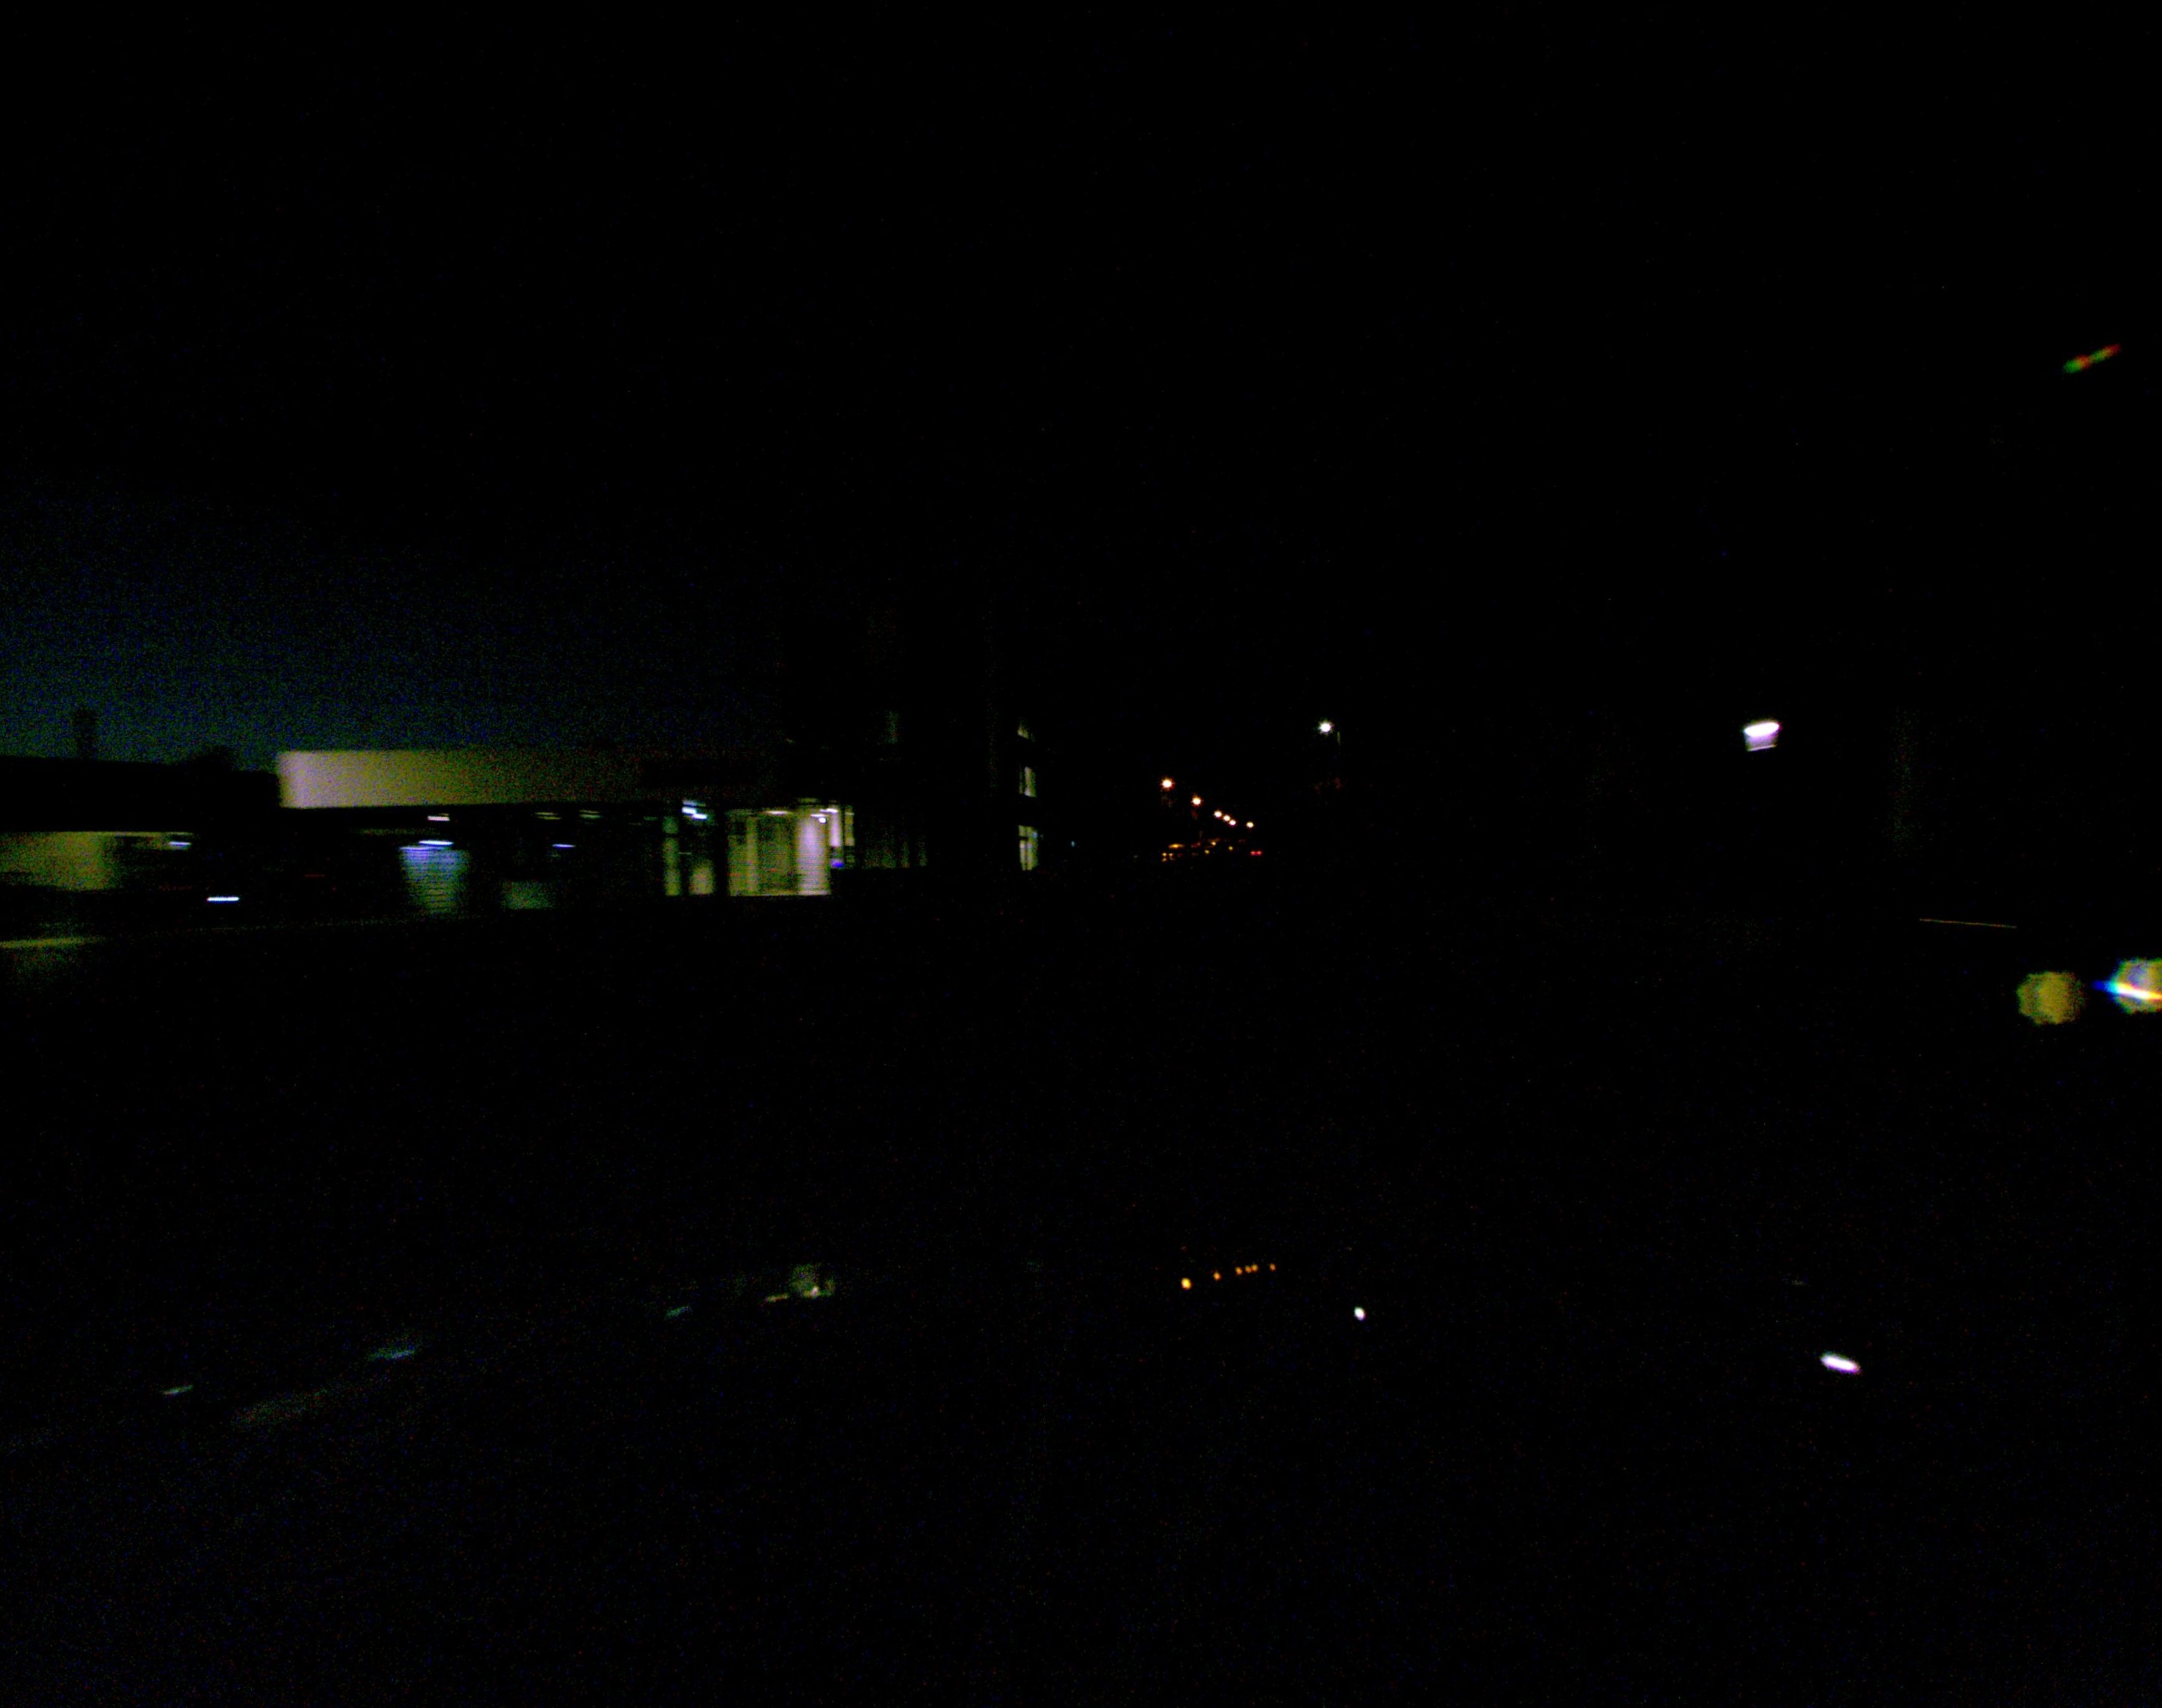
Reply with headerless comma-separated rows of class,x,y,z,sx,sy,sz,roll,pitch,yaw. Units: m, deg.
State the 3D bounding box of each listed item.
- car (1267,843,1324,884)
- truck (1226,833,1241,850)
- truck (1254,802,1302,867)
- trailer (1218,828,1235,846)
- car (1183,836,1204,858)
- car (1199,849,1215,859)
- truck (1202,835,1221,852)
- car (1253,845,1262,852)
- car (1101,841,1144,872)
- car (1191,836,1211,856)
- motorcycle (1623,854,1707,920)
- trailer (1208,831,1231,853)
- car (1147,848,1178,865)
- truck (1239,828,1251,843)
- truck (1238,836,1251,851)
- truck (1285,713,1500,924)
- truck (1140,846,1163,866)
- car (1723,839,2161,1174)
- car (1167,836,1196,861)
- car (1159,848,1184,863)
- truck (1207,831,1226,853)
car,9.580,0.373,34.270,1.947,1.707,5.202,-1,0,10
truck,37.762,-3.130,188.057,2.795,3.946,9.831,-3,-1,14
truck,13.428,-1.259,52.307,2.750,4.010,9.568,-2,0,13
trailer,31.116,-3.586,161.749,2.882,3.504,8.292,-2,0,15
car,14.434,-0.888,97.433,2.132,2.556,5.914,-4,0,12
car,19.675,-0.060,118.423,1.832,1.399,4.913,-4,-1,14
truck,21.635,-1.723,125.629,2.405,2.579,6.604,-2,0,16
car,36.221,-1.165,155.909,1.860,1.412,4.004,-2,1,14
car,2.971,0.126,52.944,1.996,2.002,4.917,-1,1,14
car,16.508,-1.083,104.431,1.997,2.556,6.020,-4,0,14
motorcycle,11.337,0.620,14.745,1.694,1.095,0.530,-5,3,-24
trailer,26.047,-2.318,142.364,2.769,3.741,14.670,-3,0,15
car,7.744,0.241,71.723,1.949,1.480,5.016,-2,0,17
truck,47.085,-5.217,218.409,2.657,3.850,10.243,-3,-2,15
truck,49.489,-3.156,230.223,3.069,4.449,5.641,-3,1,19
truck,7.402,-0.729,19.702,2.778,4.096,9.345,-1,0,7
truck,6.211,0.127,66.650,1.372,1.635,3.816,-1,1,13
car,6.170,0.727,4.041,1.870,1.583,4.495,-2,0,3
car,11.149,-0.599,84.017,1.996,2.511,5.916,-4,0,17
car,9.294,0.149,77.691,1.771,1.404,4.555,-2,0,17
truck,24.175,-2.161,135.304,2.769,3.742,5.233,-3,0,15
